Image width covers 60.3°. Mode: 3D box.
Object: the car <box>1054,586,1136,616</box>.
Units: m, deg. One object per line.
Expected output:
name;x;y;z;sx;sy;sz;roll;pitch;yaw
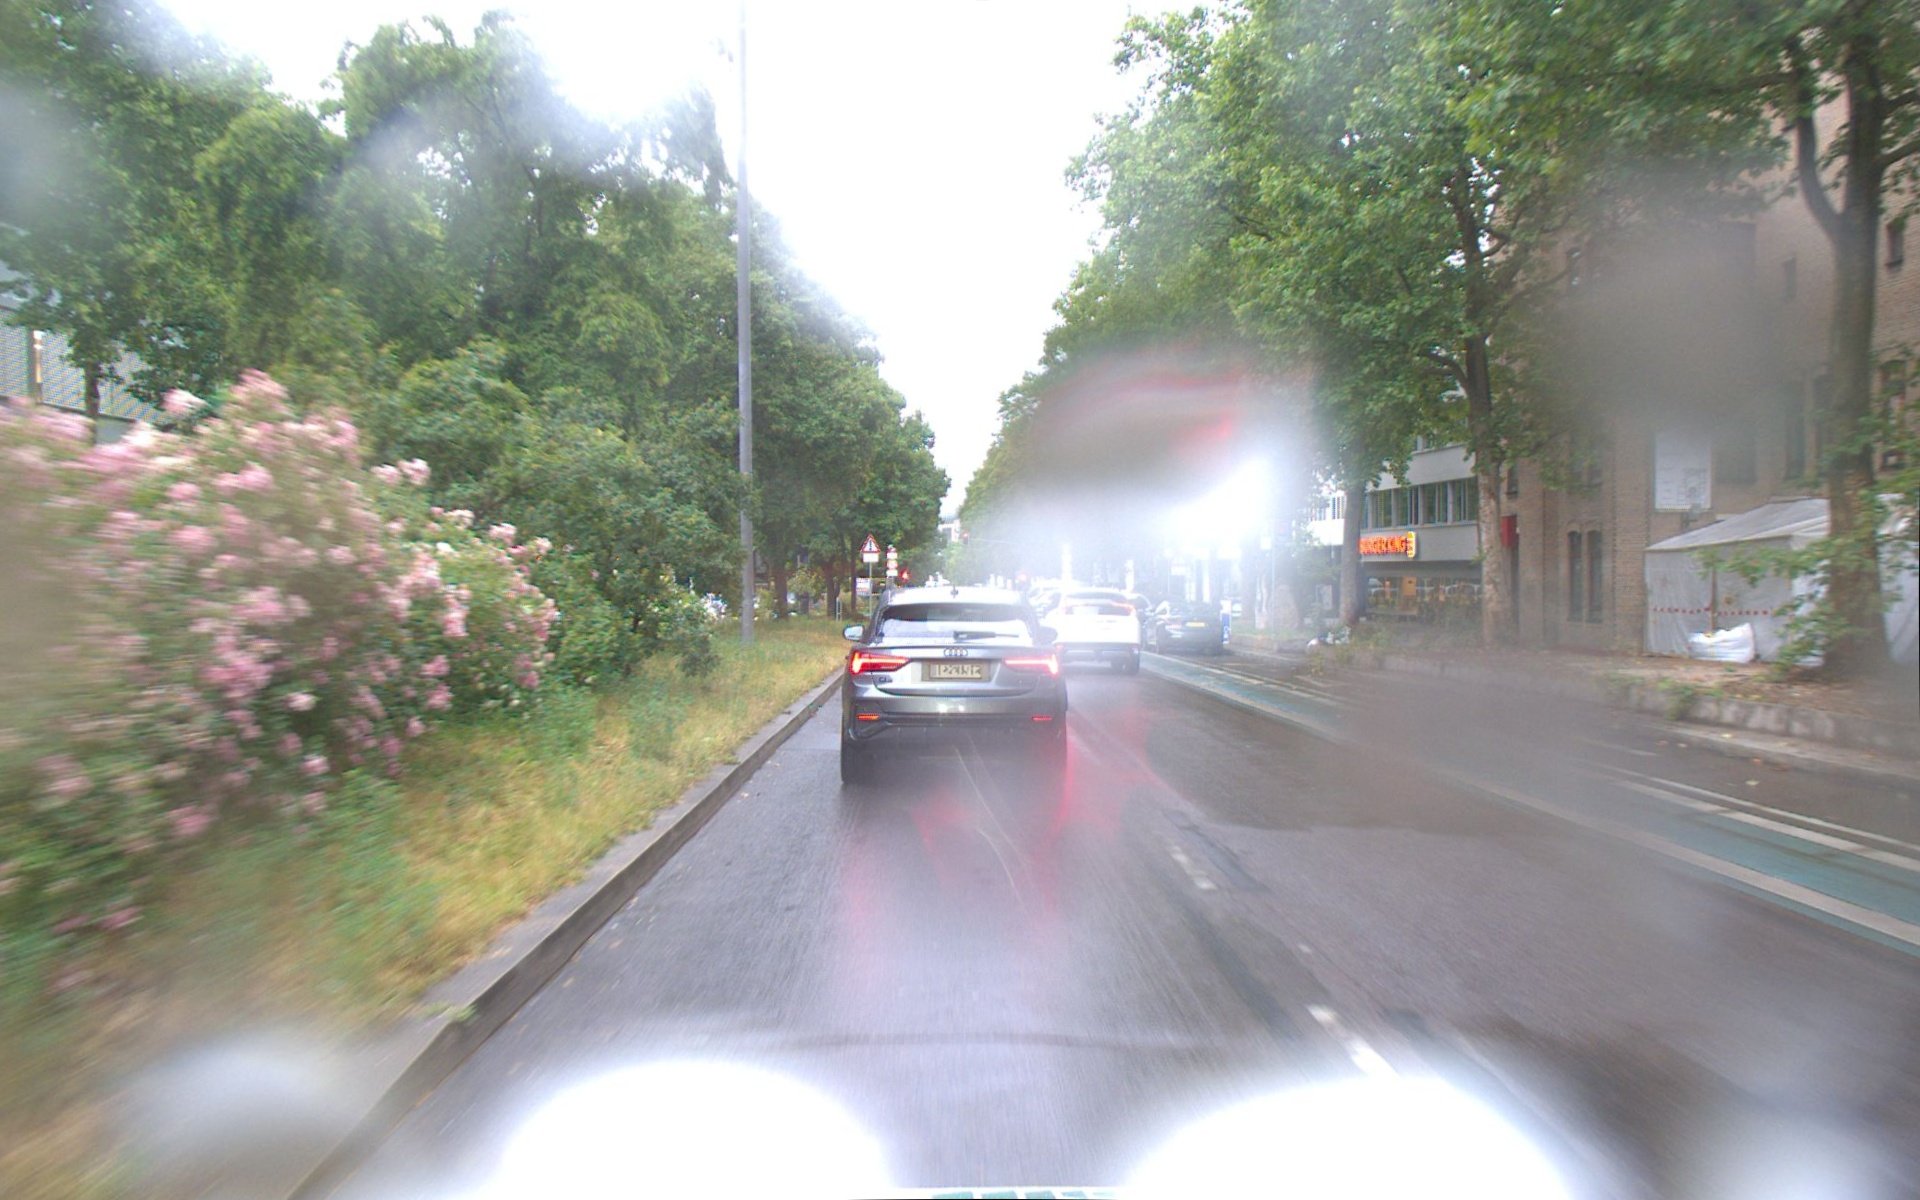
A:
car;8.228;0.070;100.938;4.548;1.736;1.998;1;0;27

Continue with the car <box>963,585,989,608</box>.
car;1.218;-0.251;129.049;1.953;1.680;3.999;1;0;-1

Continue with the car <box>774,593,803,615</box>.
car;-13.698;0.328;132.386;1.724;1.733;4.333;1;0;1

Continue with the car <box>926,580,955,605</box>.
car;-1.429;-0.522;120.110;1.953;1.757;3.998;1;0;-2

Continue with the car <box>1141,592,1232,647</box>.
car;6.312;0.526;46.555;1.835;1.446;4.610;1;0;-1

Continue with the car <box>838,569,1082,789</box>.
car;-0.064;0.586;14.336;1.812;1.630;3.998;0;0;-2

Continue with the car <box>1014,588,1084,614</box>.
car;6.393;0.077;118.657;4.548;1.736;1.998;1;0;27

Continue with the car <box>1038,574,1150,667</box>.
car;2.642;0.397;33.462;1.840;1.727;3.999;1;0;-1

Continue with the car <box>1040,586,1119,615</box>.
car;7.579;0.017;104.611;4.548;1.736;1.998;1;0;27

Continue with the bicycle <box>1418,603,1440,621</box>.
bicycle;22.013;0.561;77.646;0.439;0.851;2.026;1;0;-1

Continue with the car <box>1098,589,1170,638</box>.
car;5.986;0.447;57.368;1.694;1.599;4.069;1;0;-5

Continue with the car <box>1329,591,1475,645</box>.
car;9.775;0.393;36.581;2.830;1.093;1.453;1;0;30

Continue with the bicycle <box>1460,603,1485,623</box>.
bicycle;22.300;0.549;72.008;0.439;0.851;2.026;1;0;-1

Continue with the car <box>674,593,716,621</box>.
car;-13.949;0.360;87.160;1.615;1.460;3.812;0;0;0

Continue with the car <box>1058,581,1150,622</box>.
car;7.623;0.066;87.545;4.517;2.049;1.960;1;-1;37
